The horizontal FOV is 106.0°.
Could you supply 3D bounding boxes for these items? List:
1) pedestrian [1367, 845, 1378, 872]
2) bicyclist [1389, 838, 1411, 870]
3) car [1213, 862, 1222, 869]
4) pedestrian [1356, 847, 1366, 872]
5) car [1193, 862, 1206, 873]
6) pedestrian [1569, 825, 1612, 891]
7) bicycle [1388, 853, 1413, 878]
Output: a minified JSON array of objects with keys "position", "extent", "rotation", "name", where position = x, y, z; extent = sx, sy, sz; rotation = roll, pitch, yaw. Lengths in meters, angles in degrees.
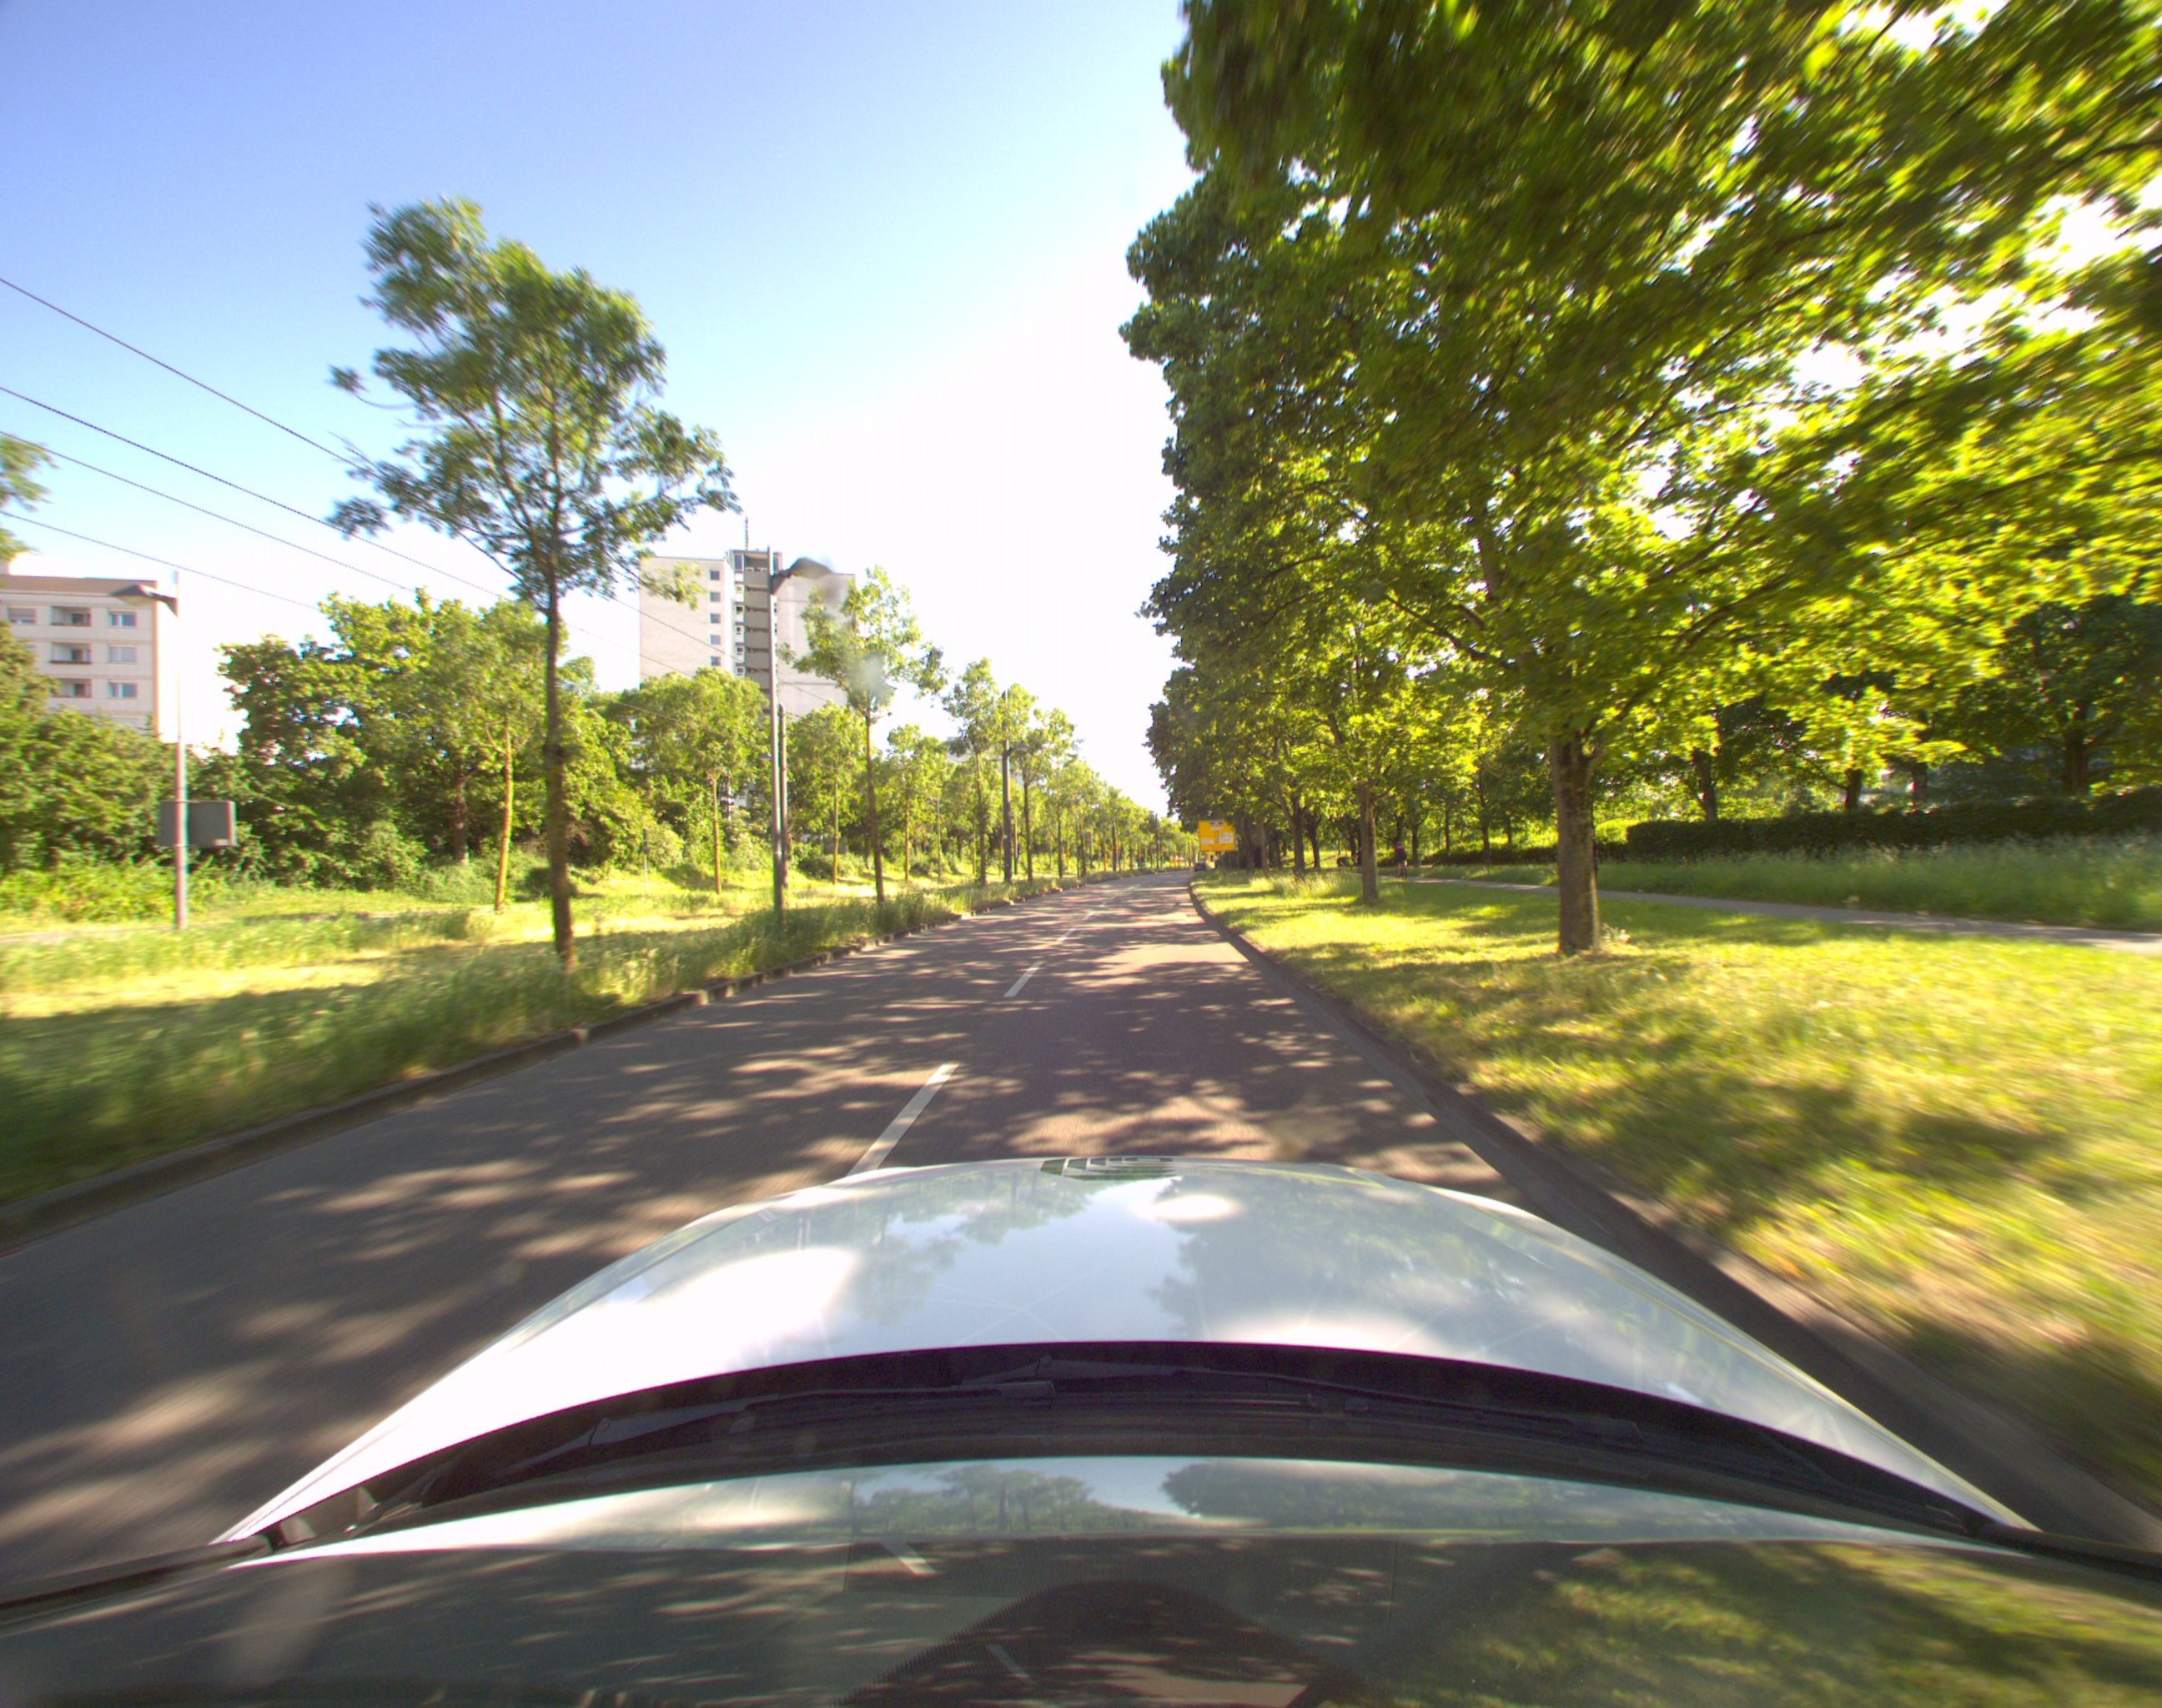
[{"position":[18.878,0.292,52.758],"extent":[0.631,1.692,0.848],"rotation":[-2,-1,18],"name":"pedestrian"},{"position":[14.543,0.002,37.086],"extent":[0.782,1.450,0.850],"rotation":[-3,-1,27],"name":"bicyclist"},{"position":[29.165,2.493,174.007],"extent":[1.624,1.498,4.246],"rotation":[-1,-1,10],"name":"car"},{"position":[18.299,0.355,53.190],"extent":[0.542,1.622,0.848],"rotation":[-2,-1,18],"name":"pedestrian"},{"position":[17.617,2.004,121.134],"extent":[1.624,1.498,4.247],"rotation":[-1,-1,11],"name":"car"},{"position":[14.318,0.115,22.913],"extent":[0.712,1.803,0.795],"rotation":[-1,-1,5],"name":"pedestrian"},{"position":[14.568,0.510,37.086],"extent":[0.787,1.047,2.155],"rotation":[-3,-1,27],"name":"bicycle"}]
